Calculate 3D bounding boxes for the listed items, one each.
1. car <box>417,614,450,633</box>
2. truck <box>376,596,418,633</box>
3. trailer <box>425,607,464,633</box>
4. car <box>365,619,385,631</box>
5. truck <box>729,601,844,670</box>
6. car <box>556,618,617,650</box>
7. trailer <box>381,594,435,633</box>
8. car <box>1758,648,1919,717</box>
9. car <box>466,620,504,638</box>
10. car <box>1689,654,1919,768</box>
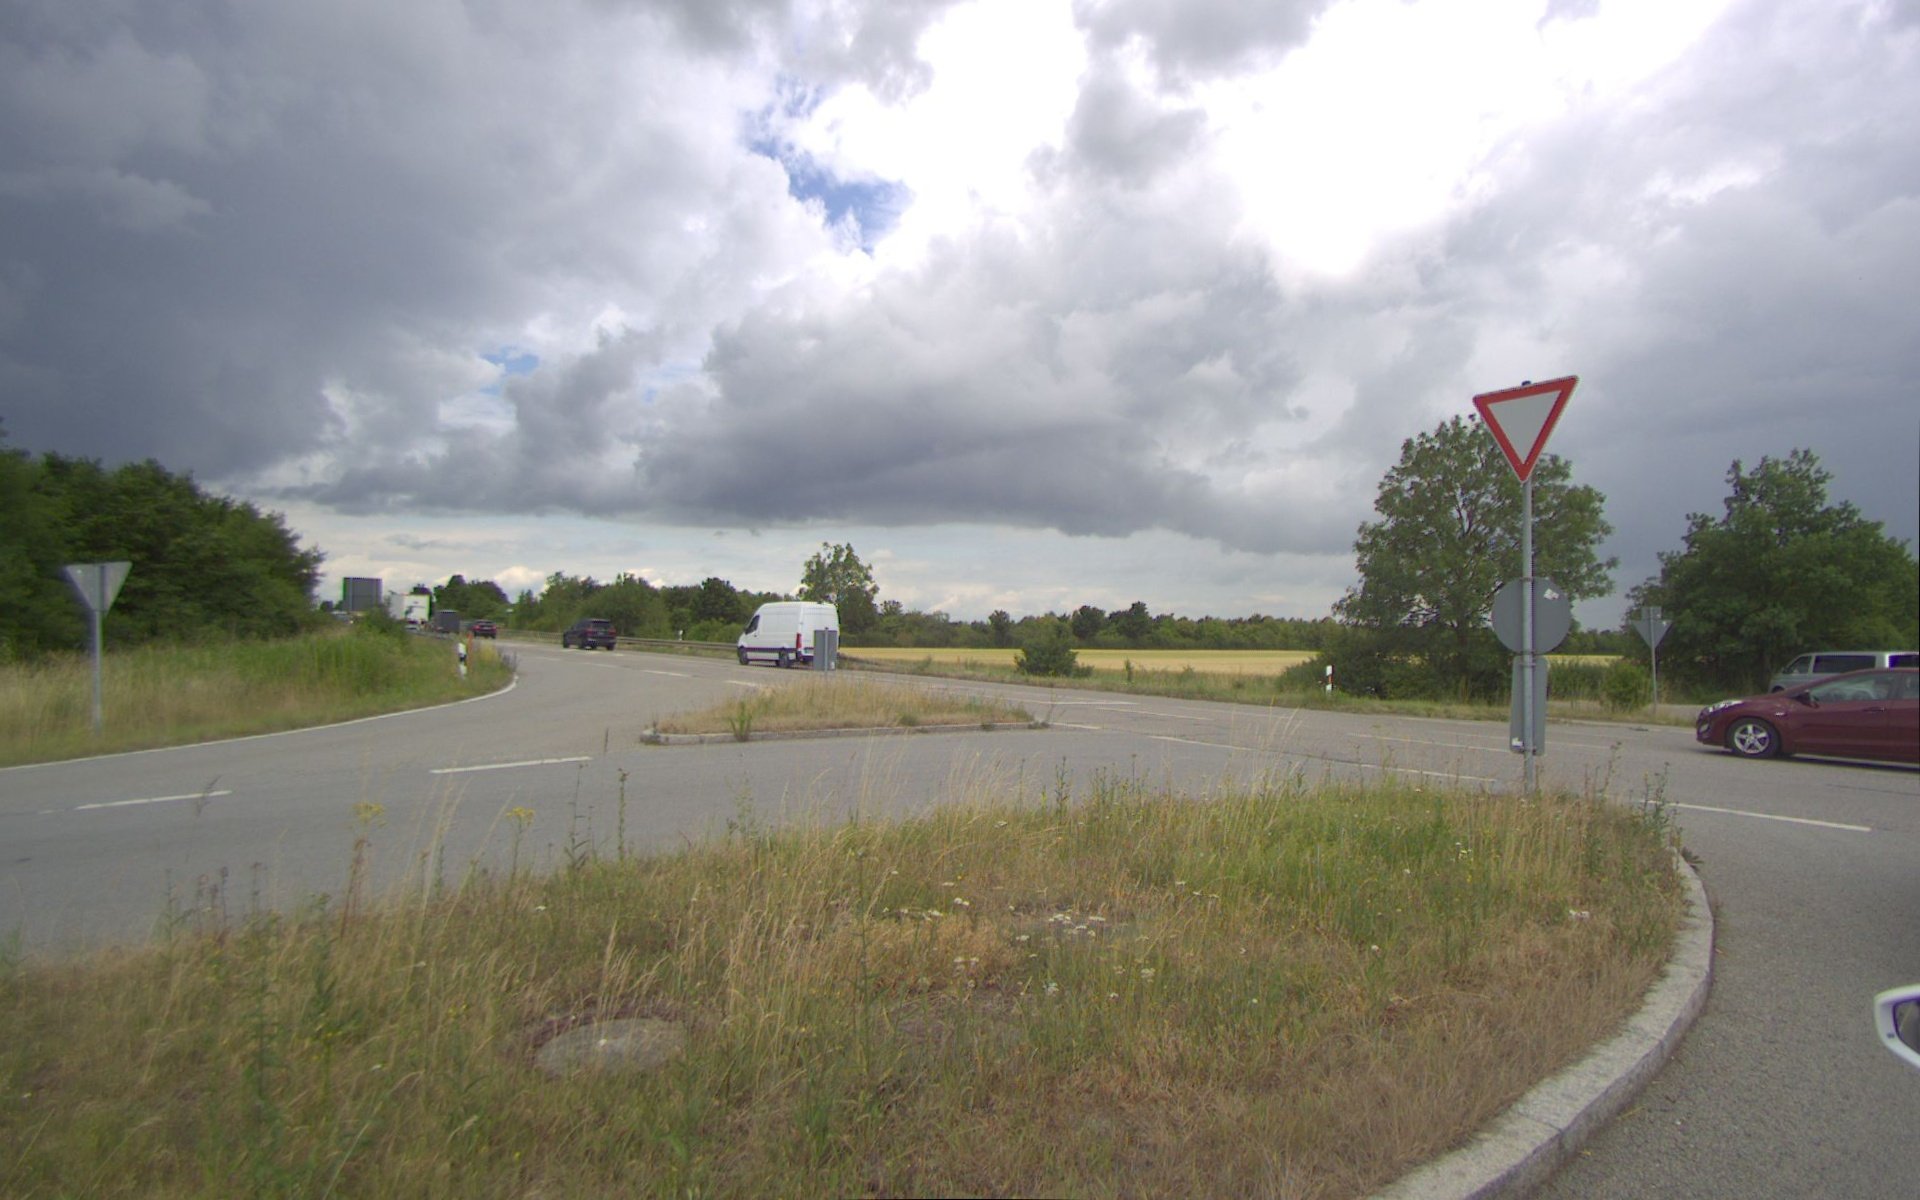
[{"bbox_3d":[-52.310,2.357,99.764,1.984,1.704,4.426,4,-4,-40],"label":"car"},{"bbox_3d":[-66.952,1.736,119.413,3.102,4.066,7.228,4,-3,-38],"label":"truck"},{"bbox_3d":[-49.481,1.968,96.359,2.398,2.322,4.346,4,-4,-39],"label":"trailer"},{"bbox_3d":[-80.714,3.443,138.619,1.981,1.622,4.182,1,-3,-36],"label":"car"},{"bbox_3d":[-7.257,1.449,41.497,1.983,2.609,5.949,4,-3,-39],"label":"truck"},{"bbox_3d":[-22.410,2.030,60.152,1.984,1.798,4.590,3,-2,-40],"label":"car"},{"bbox_3d":[-62.910,1.625,114.161,3.102,4.066,13.736,4,-3,-38],"label":"trailer"},{"bbox_3d":[29.333,2.625,33.039,2.295,2.040,4.916,0,-2,1],"label":"car"},{"bbox_3d":[-40.258,2.464,85.049,1.983,1.506,4.254,3,-3,-38],"label":"car"},{"bbox_3d":[13.315,1.572,14.543,1.983,1.483,4.115,3,-3,-39],"label":"car"}]
